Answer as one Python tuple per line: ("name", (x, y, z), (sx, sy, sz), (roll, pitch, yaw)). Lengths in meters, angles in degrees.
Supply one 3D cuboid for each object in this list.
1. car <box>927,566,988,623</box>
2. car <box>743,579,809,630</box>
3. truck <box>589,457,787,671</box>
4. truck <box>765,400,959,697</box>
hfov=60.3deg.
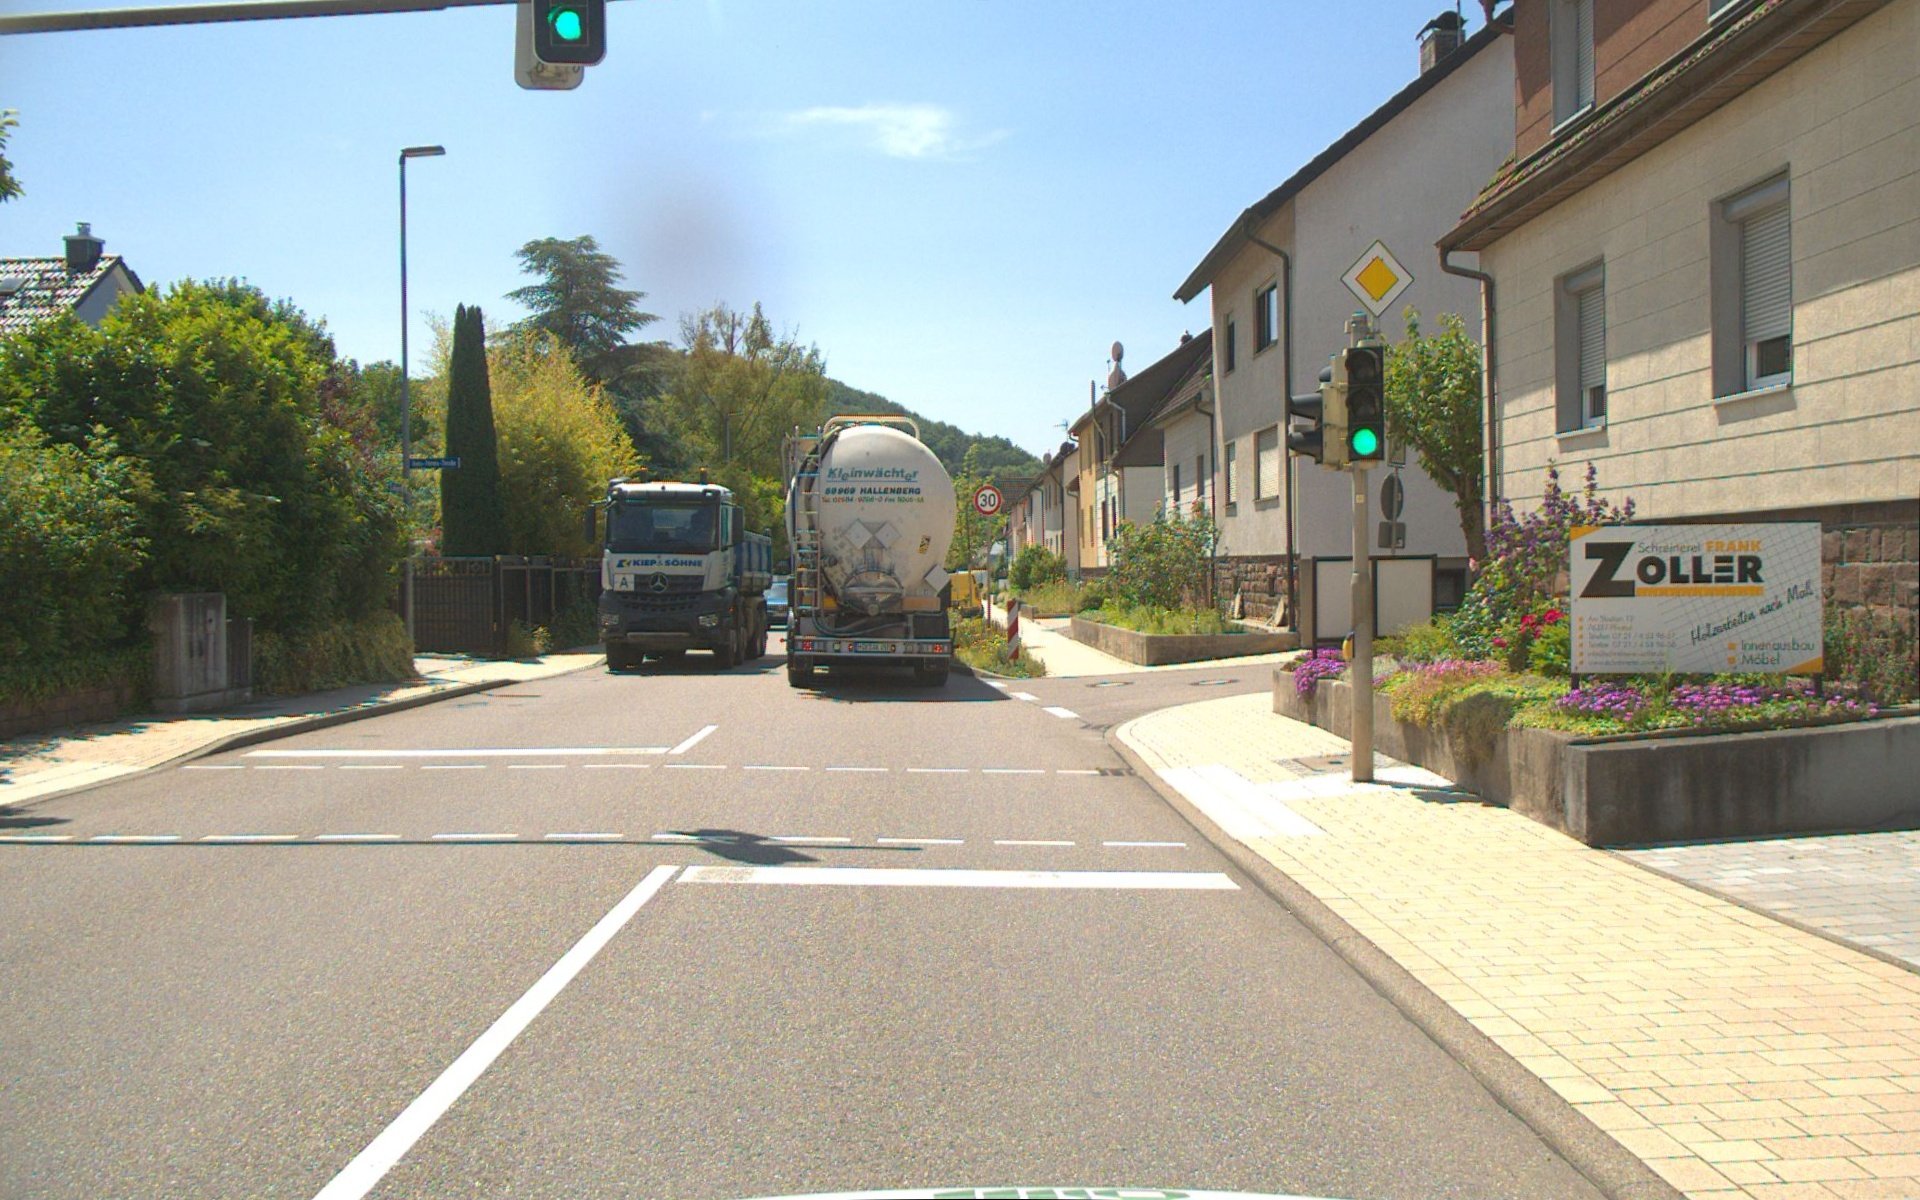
("car", (-0.165, -0.219, 67.675), (2.146, 2.048, 5.620), (-5, 0, -2))
("car", (-6.342, 0.169, 57.402), (1.850, 1.674, 4.612), (1, 0, -2))
("truck", (-5.330, -0.692, 34.012), (2.489, 3.803, 8.622), (-1, 1, 1))
("truck", (-1.383, -0.781, 28.492), (2.694, 4.127, 10.889), (0, 1, 0))
